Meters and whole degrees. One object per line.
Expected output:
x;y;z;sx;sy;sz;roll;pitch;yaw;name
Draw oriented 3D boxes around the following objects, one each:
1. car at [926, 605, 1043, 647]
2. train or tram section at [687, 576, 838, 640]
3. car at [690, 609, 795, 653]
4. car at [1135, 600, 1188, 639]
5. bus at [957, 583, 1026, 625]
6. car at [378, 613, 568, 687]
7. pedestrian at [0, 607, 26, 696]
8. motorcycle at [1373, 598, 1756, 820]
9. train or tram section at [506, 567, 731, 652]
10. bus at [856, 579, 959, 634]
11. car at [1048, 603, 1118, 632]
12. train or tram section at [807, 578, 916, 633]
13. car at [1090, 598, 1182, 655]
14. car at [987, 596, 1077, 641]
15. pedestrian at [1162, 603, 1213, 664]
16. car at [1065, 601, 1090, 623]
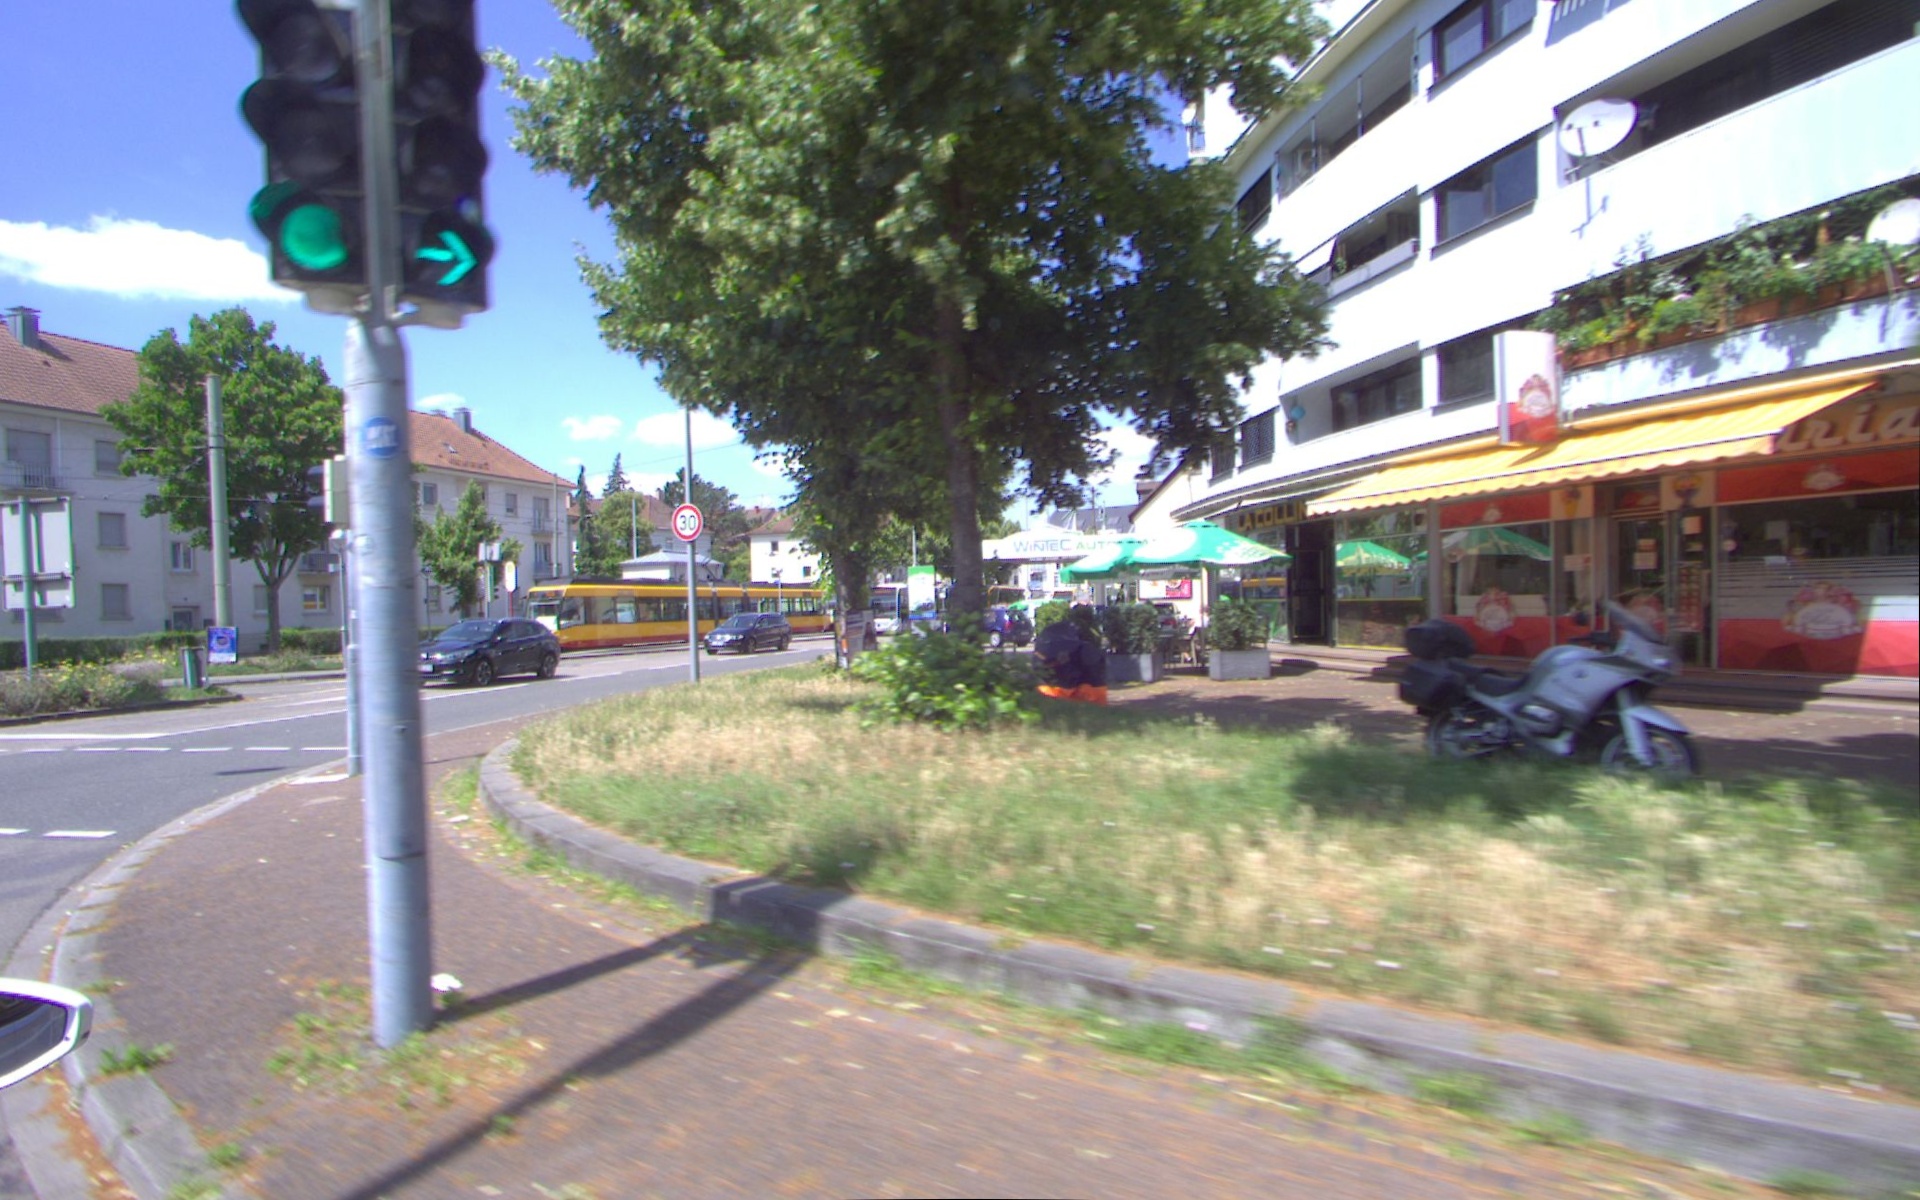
0.870;0.978;37.621;4.124;1.458;1.887;-2;-1;40;car
-12.123;0.480;63.856;2.744;3.615;14.681;-1;0;17;train or tram section
-8.158;1.151;38.045;1.964;1.539;4.505;-1;0;17;car
9.055;0.849;44.808;1.977;1.617;4.283;-1;-1;16;car
2.779;0.351;83.109;2.690;3.170;11.989;-1;0;17;bus
-11.117;1.091;23.260;1.961;1.519;4.425;-1;0;5;car
-19.024;1.014;19.560;0.747;1.727;0.838;-1;0;5;pedestrian
4.207;0.677;7.209;0.905;1.330;2.215;0;-1;-28;motorcycle
-16.373;0.453;50.097;2.768;3.615;14.157;-1;0;17;train or tram section
-3.114;0.419;64.676;2.690;3.170;11.989;-1;0;17;bus
6.961;0.996;57.141;3.866;1.538;1.823;-2;0;6;car
-7.423;0.427;79.168;2.744;3.946;15.526;-1;0;17;train or tram section
4.815;0.737;27.970;1.674;1.447;4.364;-1;-1;-2;car
3.019;0.795;42.725;1.816;1.817;4.004;-1;-1;-31;car
5.018;0.730;22.156;0.800;1.323;1.016;-1;0;-6;pedestrian
11.019;1.096;93.674;1.780;2.007;3.996;-1;0;14;car
